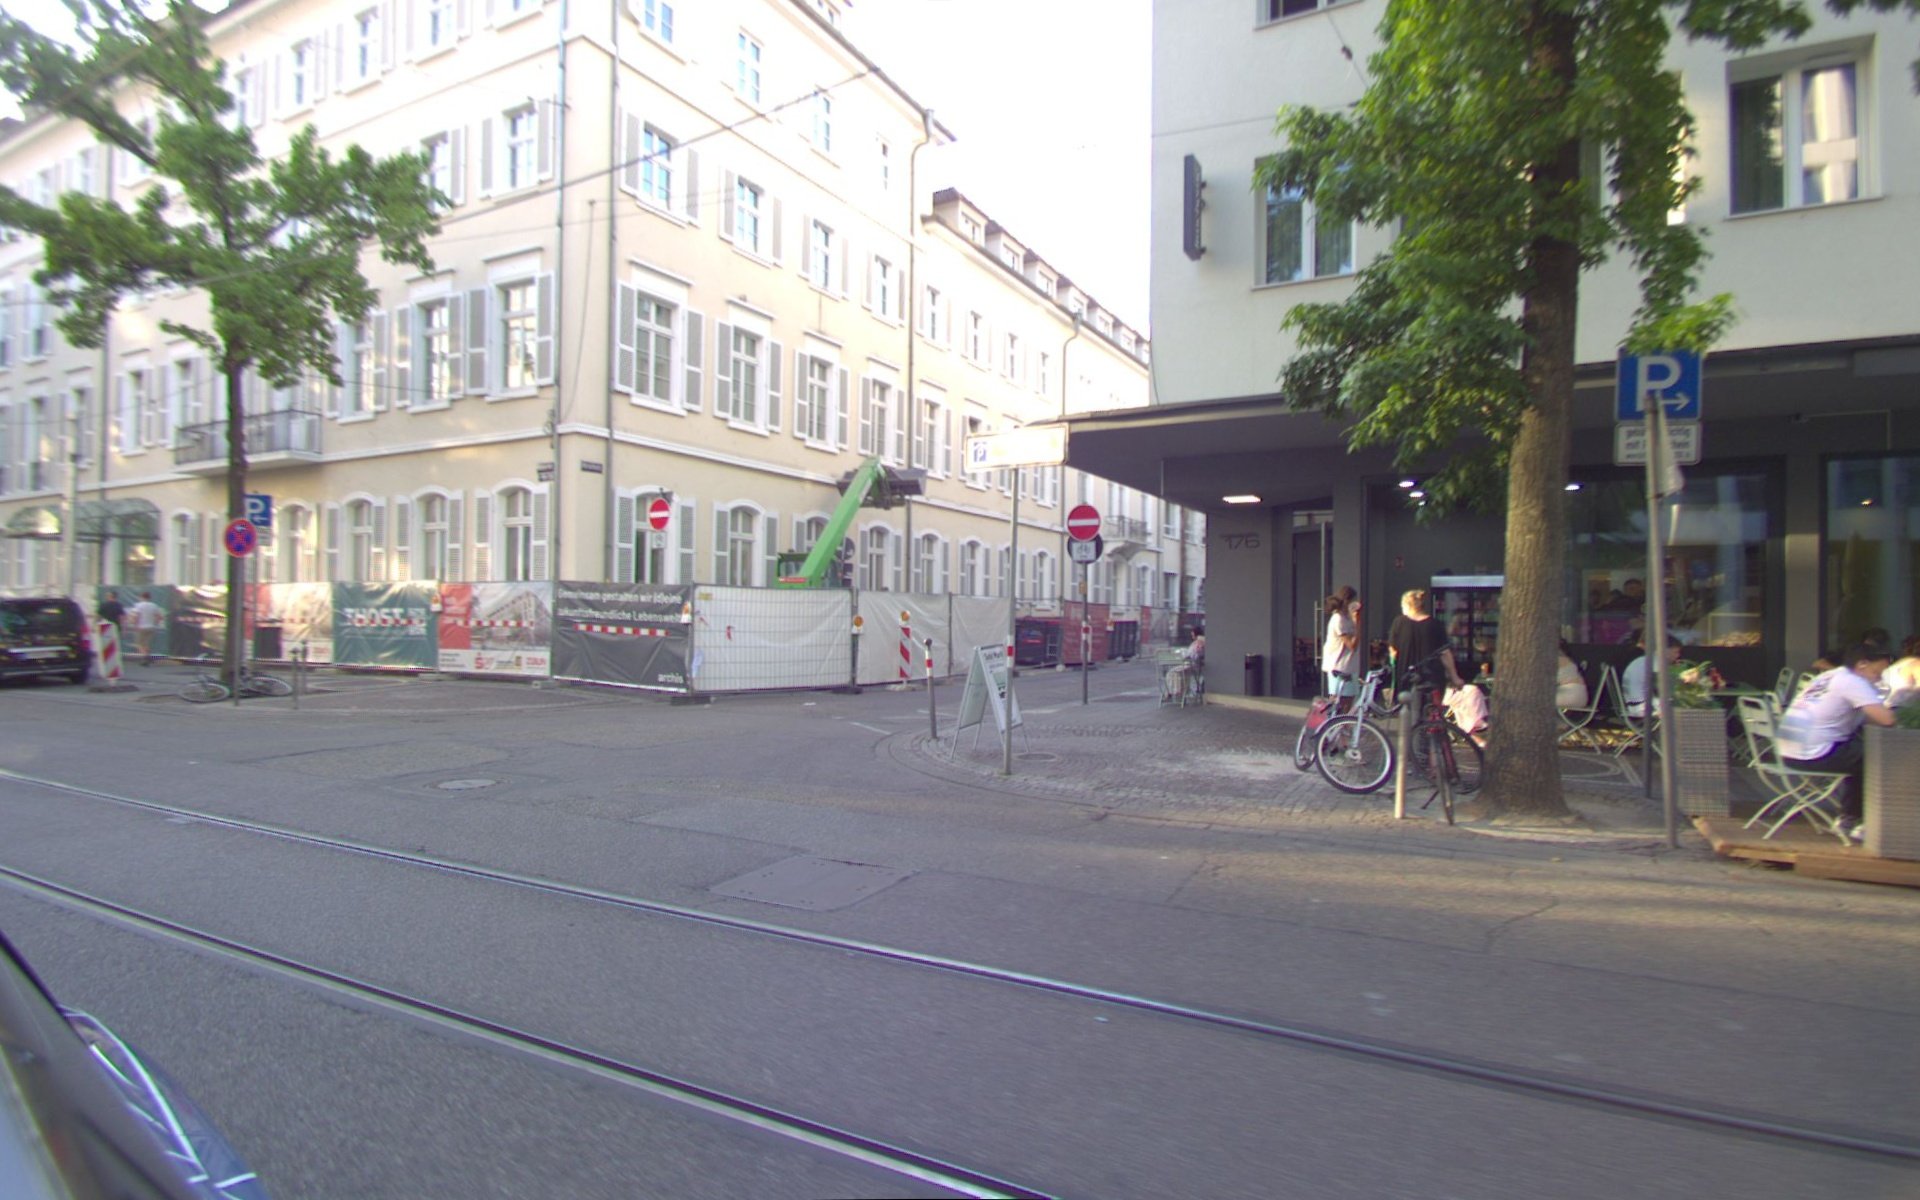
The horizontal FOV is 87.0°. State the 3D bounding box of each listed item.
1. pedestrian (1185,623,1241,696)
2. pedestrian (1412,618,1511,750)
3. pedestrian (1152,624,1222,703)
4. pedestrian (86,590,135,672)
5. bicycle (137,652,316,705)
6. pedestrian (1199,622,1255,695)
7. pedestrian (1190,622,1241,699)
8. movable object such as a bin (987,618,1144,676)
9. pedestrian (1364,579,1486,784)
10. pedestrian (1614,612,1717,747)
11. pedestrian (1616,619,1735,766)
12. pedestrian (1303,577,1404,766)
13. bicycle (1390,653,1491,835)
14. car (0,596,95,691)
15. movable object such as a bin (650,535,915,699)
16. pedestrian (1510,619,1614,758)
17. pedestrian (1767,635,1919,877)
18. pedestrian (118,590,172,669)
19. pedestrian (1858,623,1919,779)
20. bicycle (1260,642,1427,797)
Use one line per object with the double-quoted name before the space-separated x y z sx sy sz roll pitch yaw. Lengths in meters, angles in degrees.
"pedestrian" 4.328 1.013 17.320 0.704 1.205 0.684 -4 -4 32
"pedestrian" 5.442 0.871 10.973 0.879 1.330 0.878 1 0 32
"pedestrian" 3.641 1.000 16.233 0.827 1.228 0.708 1 -2 -24
"pedestrian" -20.189 0.722 24.053 0.766 1.899 0.673 0 1 30
"bicycle" -12.267 1.286 17.003 1.322 0.711 2.061 0 0 22
"pedestrian" 4.761 1.043 18.059 0.704 1.249 0.769 -5 -4 32
"pedestrian" 4.383 1.028 17.399 0.697 1.296 0.859 0 -2 5
"movable object such as a bin" 3.762 1.551 34.175 2.886 1.677 7.226 1 -2 27
"pedestrian" 4.174 0.699 9.117 0.631 1.754 0.783 1 0 -13
"pedestrian" 7.333 0.795 10.556 0.839 1.330 0.617 1 0 32
"pedestrian" 6.983 0.867 9.927 0.879 1.330 0.878 1 0 32
"pedestrian" 3.797 0.667 9.818 0.632 1.754 0.782 1 0 -2
"bicycle" 3.727 1.031 7.864 0.623 1.147 1.850 1 0 26
"car" -19.477 0.833 20.606 3.865 1.778 1.754 0 1 32
"movable object such as a bin" -3.435 0.364 20.963 2.630 2.894 5.515 1 -1 26
"pedestrian" 6.206 0.870 10.439 0.879 1.330 0.841 1 0 33
"pedestrian" 5.615 0.926 6.332 0.790 1.388 0.688 0 -1 31
"pedestrian" -19.998 0.703 24.839 0.876 1.899 0.752 0 1 30
"pedestrian" 8.702 0.887 9.031 0.879 1.330 0.878 1 0 32
"bicycle" 3.315 0.983 8.953 0.769 1.147 1.866 1 0 1
